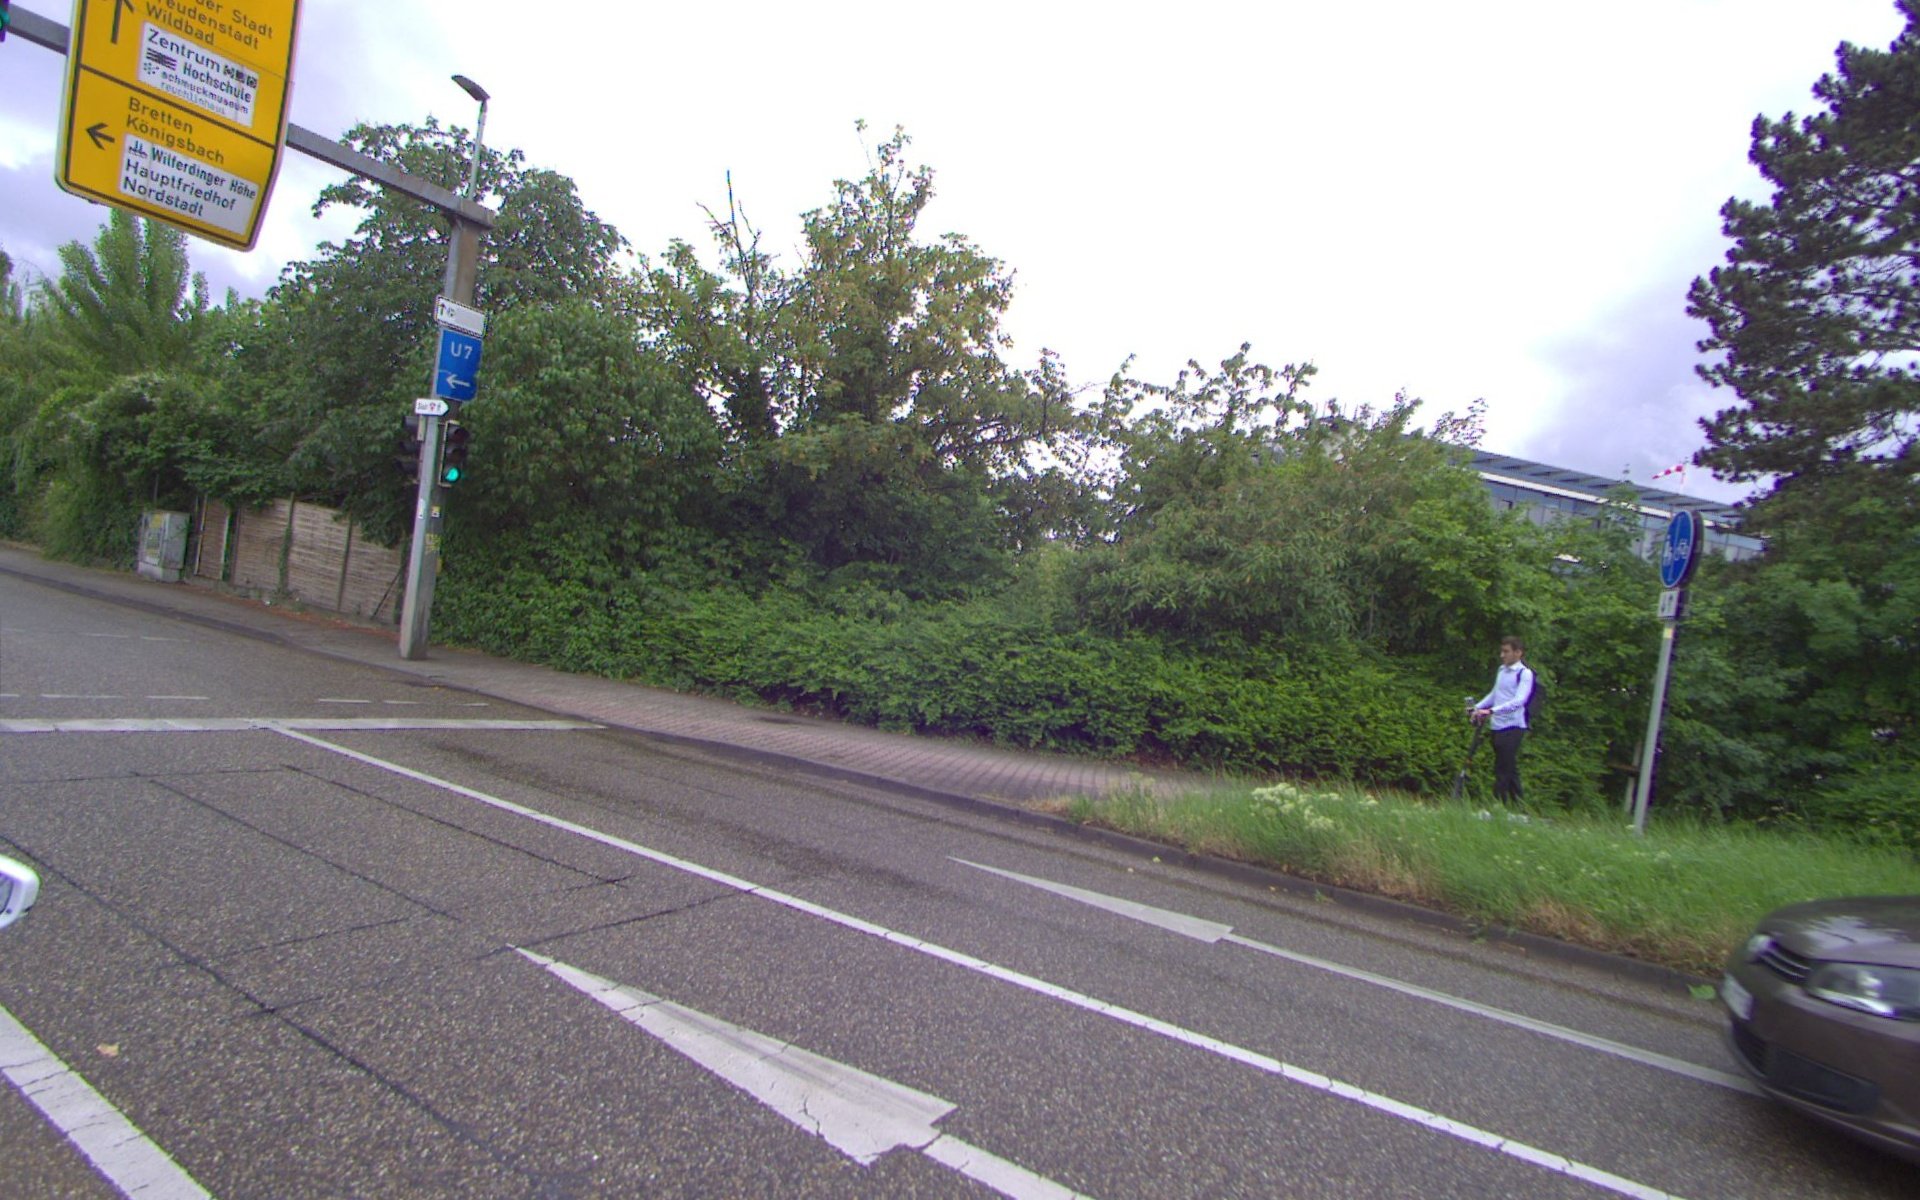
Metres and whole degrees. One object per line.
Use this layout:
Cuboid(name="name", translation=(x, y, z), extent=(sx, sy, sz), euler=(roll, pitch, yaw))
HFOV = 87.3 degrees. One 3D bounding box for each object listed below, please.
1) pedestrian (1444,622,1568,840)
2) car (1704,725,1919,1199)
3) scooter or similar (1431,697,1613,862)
Cuboid(name="pedestrian", translation=(5.438, 1.278, 10.068), extent=(0.704, 2.026, 0.658), euler=(7, 0, 9))
Cuboid(name="car", translation=(5.143, 1.545, 3.295), extent=(3.999, 1.593, 1.740), euler=(7, -1, 29))
Cuboid(name="scooter or similar", translation=(5.560, 1.759, 10.010), extent=(1.358, 1.378, 0.463), euler=(7, 0, 9))
